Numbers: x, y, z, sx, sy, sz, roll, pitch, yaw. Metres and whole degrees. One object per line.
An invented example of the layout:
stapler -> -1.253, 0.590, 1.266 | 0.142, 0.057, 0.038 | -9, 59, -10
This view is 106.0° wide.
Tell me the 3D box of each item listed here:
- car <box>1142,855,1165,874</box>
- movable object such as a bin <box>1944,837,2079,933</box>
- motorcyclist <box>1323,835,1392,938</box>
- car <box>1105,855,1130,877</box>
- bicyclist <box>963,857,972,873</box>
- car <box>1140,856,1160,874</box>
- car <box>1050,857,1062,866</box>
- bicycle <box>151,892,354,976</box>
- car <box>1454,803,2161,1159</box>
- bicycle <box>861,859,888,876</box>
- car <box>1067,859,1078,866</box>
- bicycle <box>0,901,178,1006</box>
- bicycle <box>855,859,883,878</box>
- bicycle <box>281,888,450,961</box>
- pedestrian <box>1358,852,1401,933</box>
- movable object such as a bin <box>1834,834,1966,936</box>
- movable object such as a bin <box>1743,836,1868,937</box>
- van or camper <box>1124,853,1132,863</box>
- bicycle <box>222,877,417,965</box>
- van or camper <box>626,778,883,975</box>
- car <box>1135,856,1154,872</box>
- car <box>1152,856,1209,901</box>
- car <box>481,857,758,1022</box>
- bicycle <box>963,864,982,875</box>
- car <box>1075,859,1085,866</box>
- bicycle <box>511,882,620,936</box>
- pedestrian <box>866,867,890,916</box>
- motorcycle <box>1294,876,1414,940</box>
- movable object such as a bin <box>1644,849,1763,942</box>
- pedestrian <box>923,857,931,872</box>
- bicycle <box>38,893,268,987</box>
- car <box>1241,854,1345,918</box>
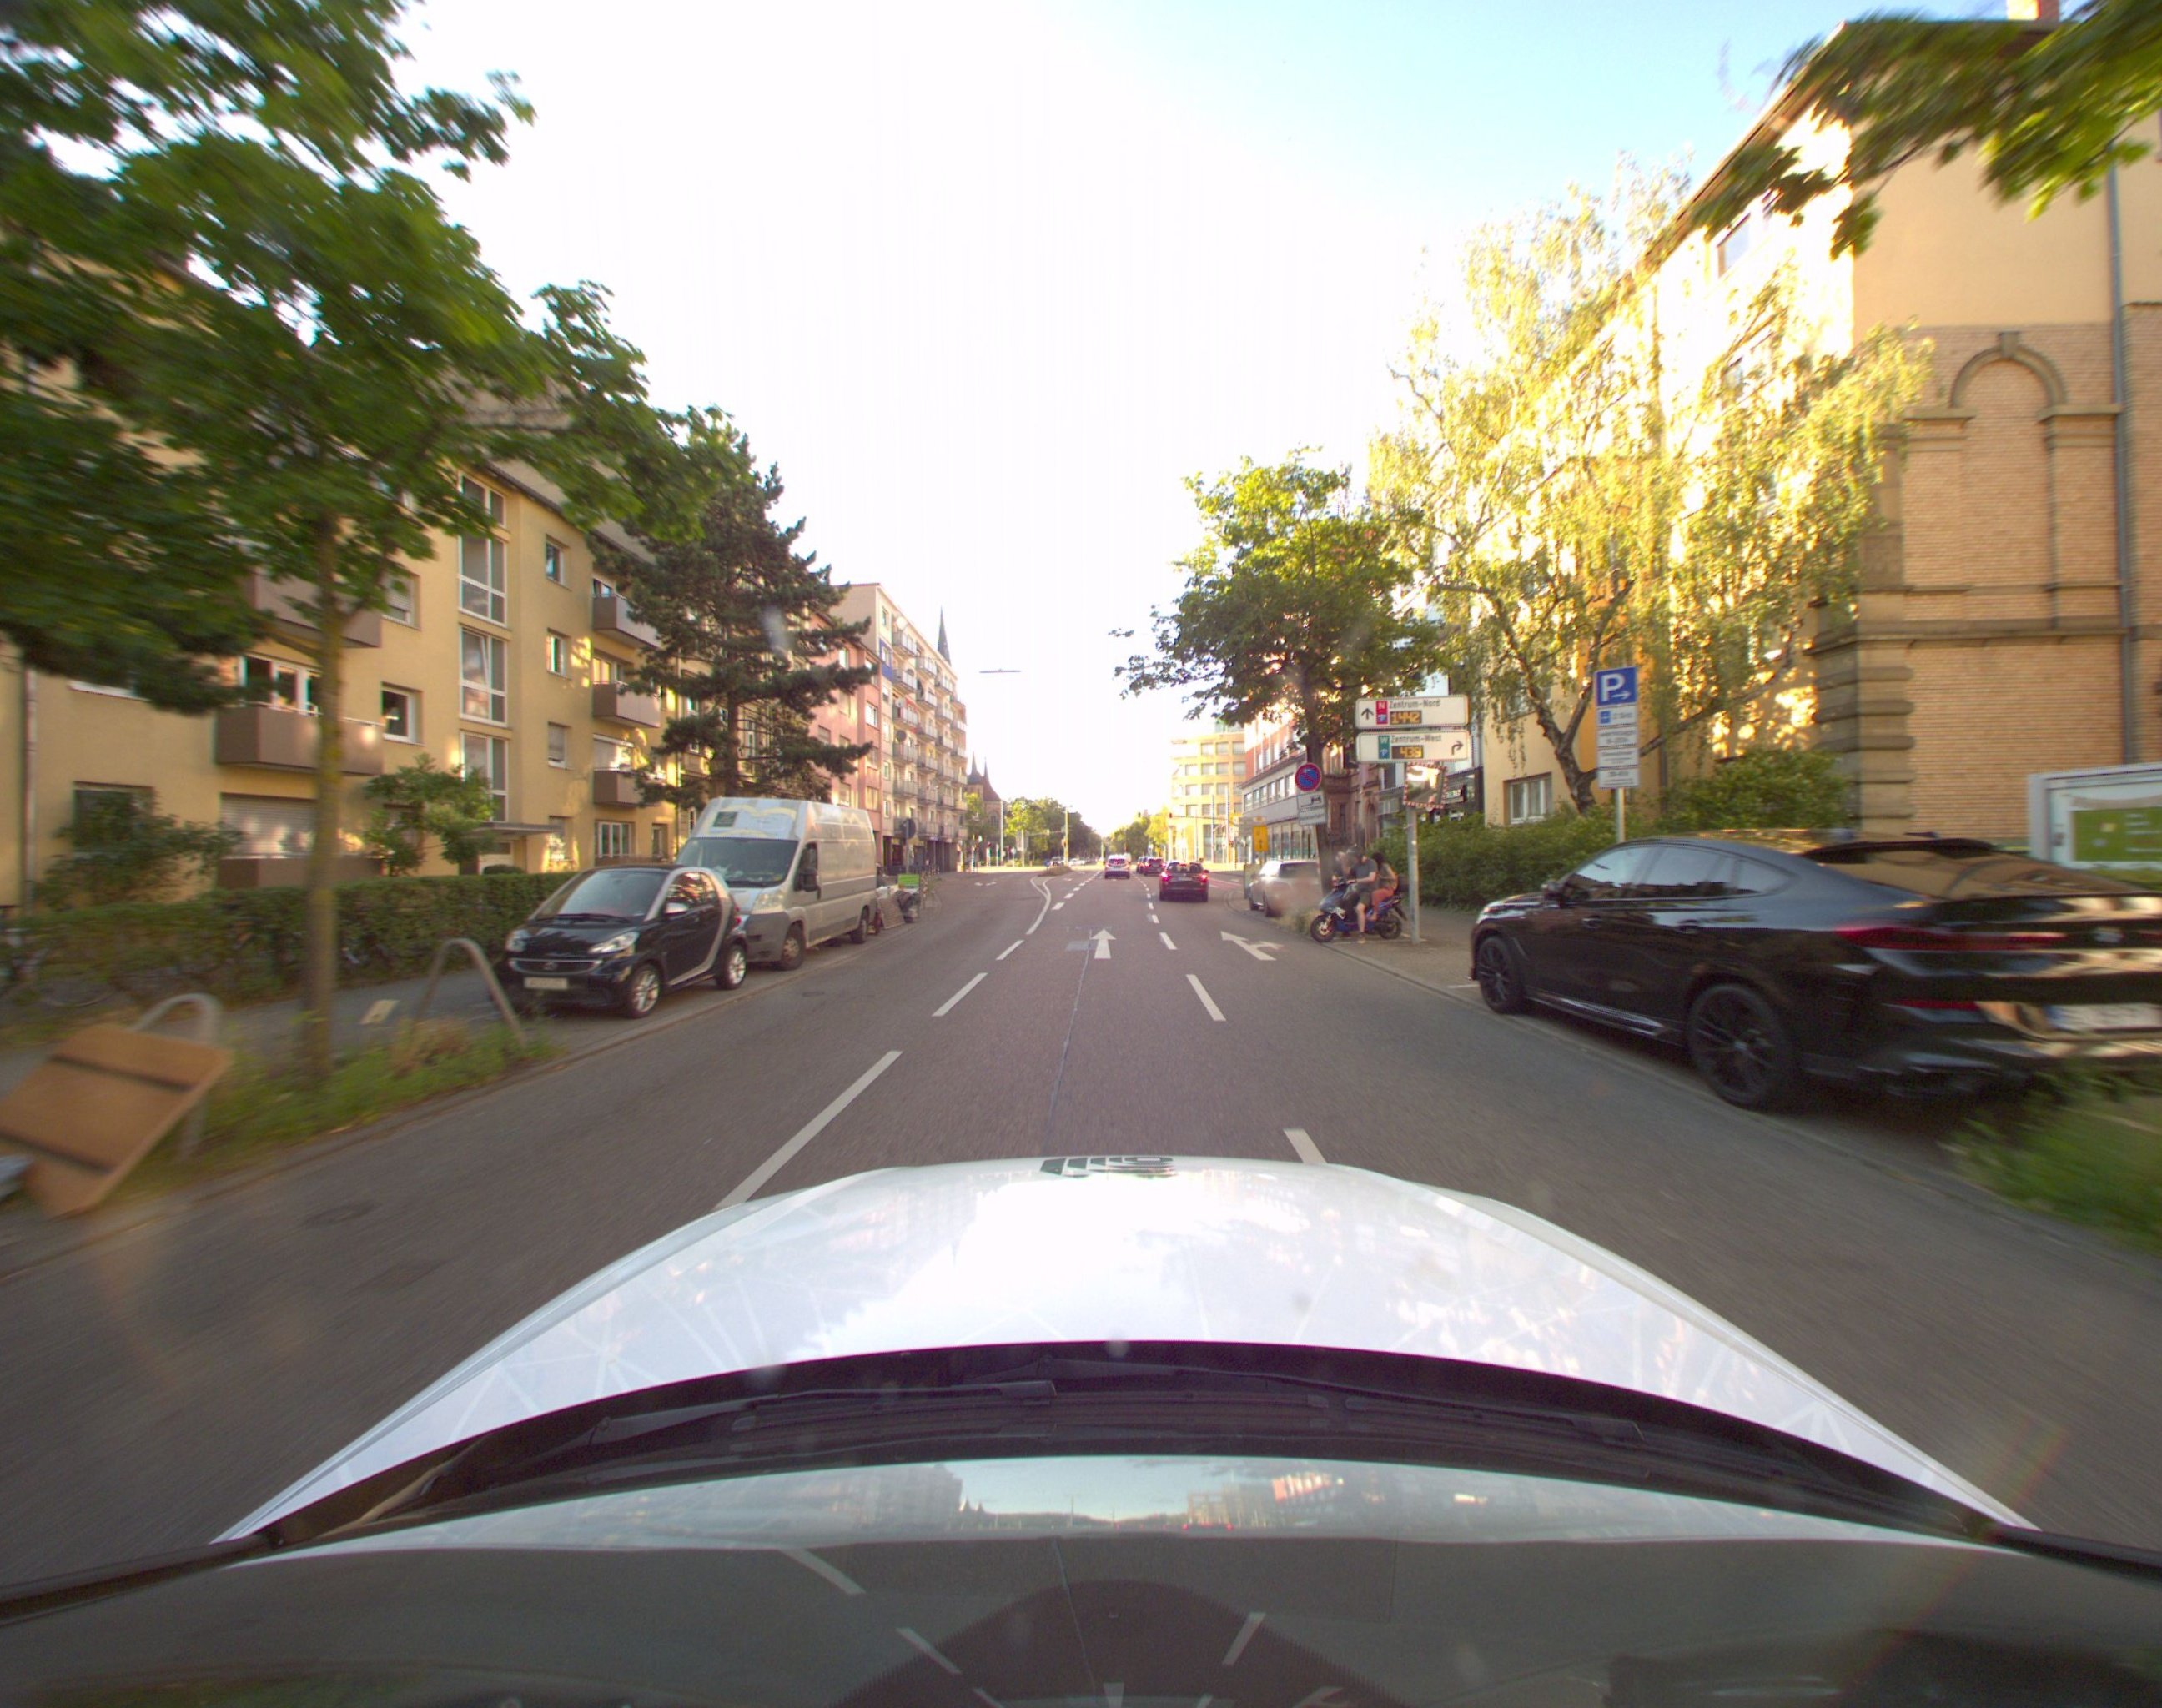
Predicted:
car -> 5.771, 0.789, 65.092 | 1.644, 1.484, 4.241 | 0, 0, 2
movable object such as a bin -> 14.656, 0.465, 12.882 | 1.128, 1.441, 1.001 | -1, 0, 30
motorcyclist -> 4.957, 0.560, 14.662 | 0.736, 1.778, 1.085 | 0, 0, -10
car -> 2.559, 0.822, 57.450 | 1.701, 1.510, 4.311 | 0, 0, 2
bicyclist -> -11.912, 1.153, 85.782 | 0.779, 1.660, 0.901 | 0, -1, 2
car -> 6.022, 0.943, 71.331 | 1.484, 1.505, 3.479 | -1, 0, 1
car -> -4.455, 1.322, 144.360 | 1.773, 1.647, 4.003 | -1, 0, 3
bicycle -> -10.173, 0.968, 10.025 | 1.928, 0.925, 0.583 | 2, 0, 3
car -> 4.876, 0.598, 6.216 | 1.941, 1.655, 4.797 | -1, 0, 1
bicycle -> -13.489, 0.878, 53.211 | 1.671, 1.041, 0.547 | 1, -1, -13
car -> -1.457, 1.537, 143.720 | 1.773, 1.236, 4.003 | -1, 0, 3
bicycle -> -10.320, 0.977, 8.159 | 1.928, 0.925, 0.583 | 2, 0, 3
bicycle -> -13.416, 0.911, 51.572 | 1.677, 1.160, 0.492 | 1, -1, -24
bicycle -> -10.208, 0.994, 11.648 | 1.928, 0.925, 0.583 | 2, 0, 3
pedestrian -> 5.406, 0.687, 14.775 | 0.438, 1.430, 0.702 | 0, 0, -10
movable object such as a bin -> 13.096, 0.475, 13.056 | 1.154, 1.555, 0.992 | -1, 0, -8
movable object such as a bin -> 11.764, 0.512, 13.262 | 1.154, 1.555, 0.992 | -1, 0, -8
van or camper -> 12.824, 1.075, 223.065 | 1.985, 2.640, 5.355 | -1, 0, 4
bicycle -> -10.169, 0.880, 10.919 | 1.935, 1.094, 0.609 | -1, 0, -4
van or camper -> -5.197, 0.322, 14.178 | 2.029, 2.664, 6.013 | 1, 0, -1
car -> 5.987, 0.942, 77.004 | 1.578, 1.446, 3.649 | 1, 0, 2
car -> 3.579, 0.855, 29.868 | 1.701, 1.457, 4.161 | 2, 0, 2
car -> -5.008, 0.826, 9.242 | 1.398, 1.548, 2.764 | 1, 0, 3
bicycle -> -11.391, 1.603, 85.349 | 1.821, 1.188, 0.734 | 0, -1, 1
car -> -0.236, 1.667, 162.993 | 1.773, 1.236, 4.003 | -1, 0, 3
bicycle -> -9.991, 1.054, 15.818 | 1.751, 0.981, 0.590 | 0, 0, 2
pedestrian -> -5.749, 1.059, 23.126 | 0.557, 1.378, 0.480 | 1, 0, -4
motorcycle -> 4.970, 0.967, 14.865 | 1.925, 1.071, 0.817 | 0, 0, -10
movable object such as a bin -> 10.133, 0.649, 13.316 | 1.243, 1.441, 0.999 | -1, 0, 16
pedestrian -> -14.235, 0.984, 75.334 | 0.479, 1.384, 0.484 | -1, -1, 22
bicycle -> -10.281, 0.937, 9.054 | 1.928, 0.925, 0.583 | 2, 0, 3
car -> 5.713, 0.803, 22.511 | 1.848, 1.512, 4.839 | -2, 0, 4
